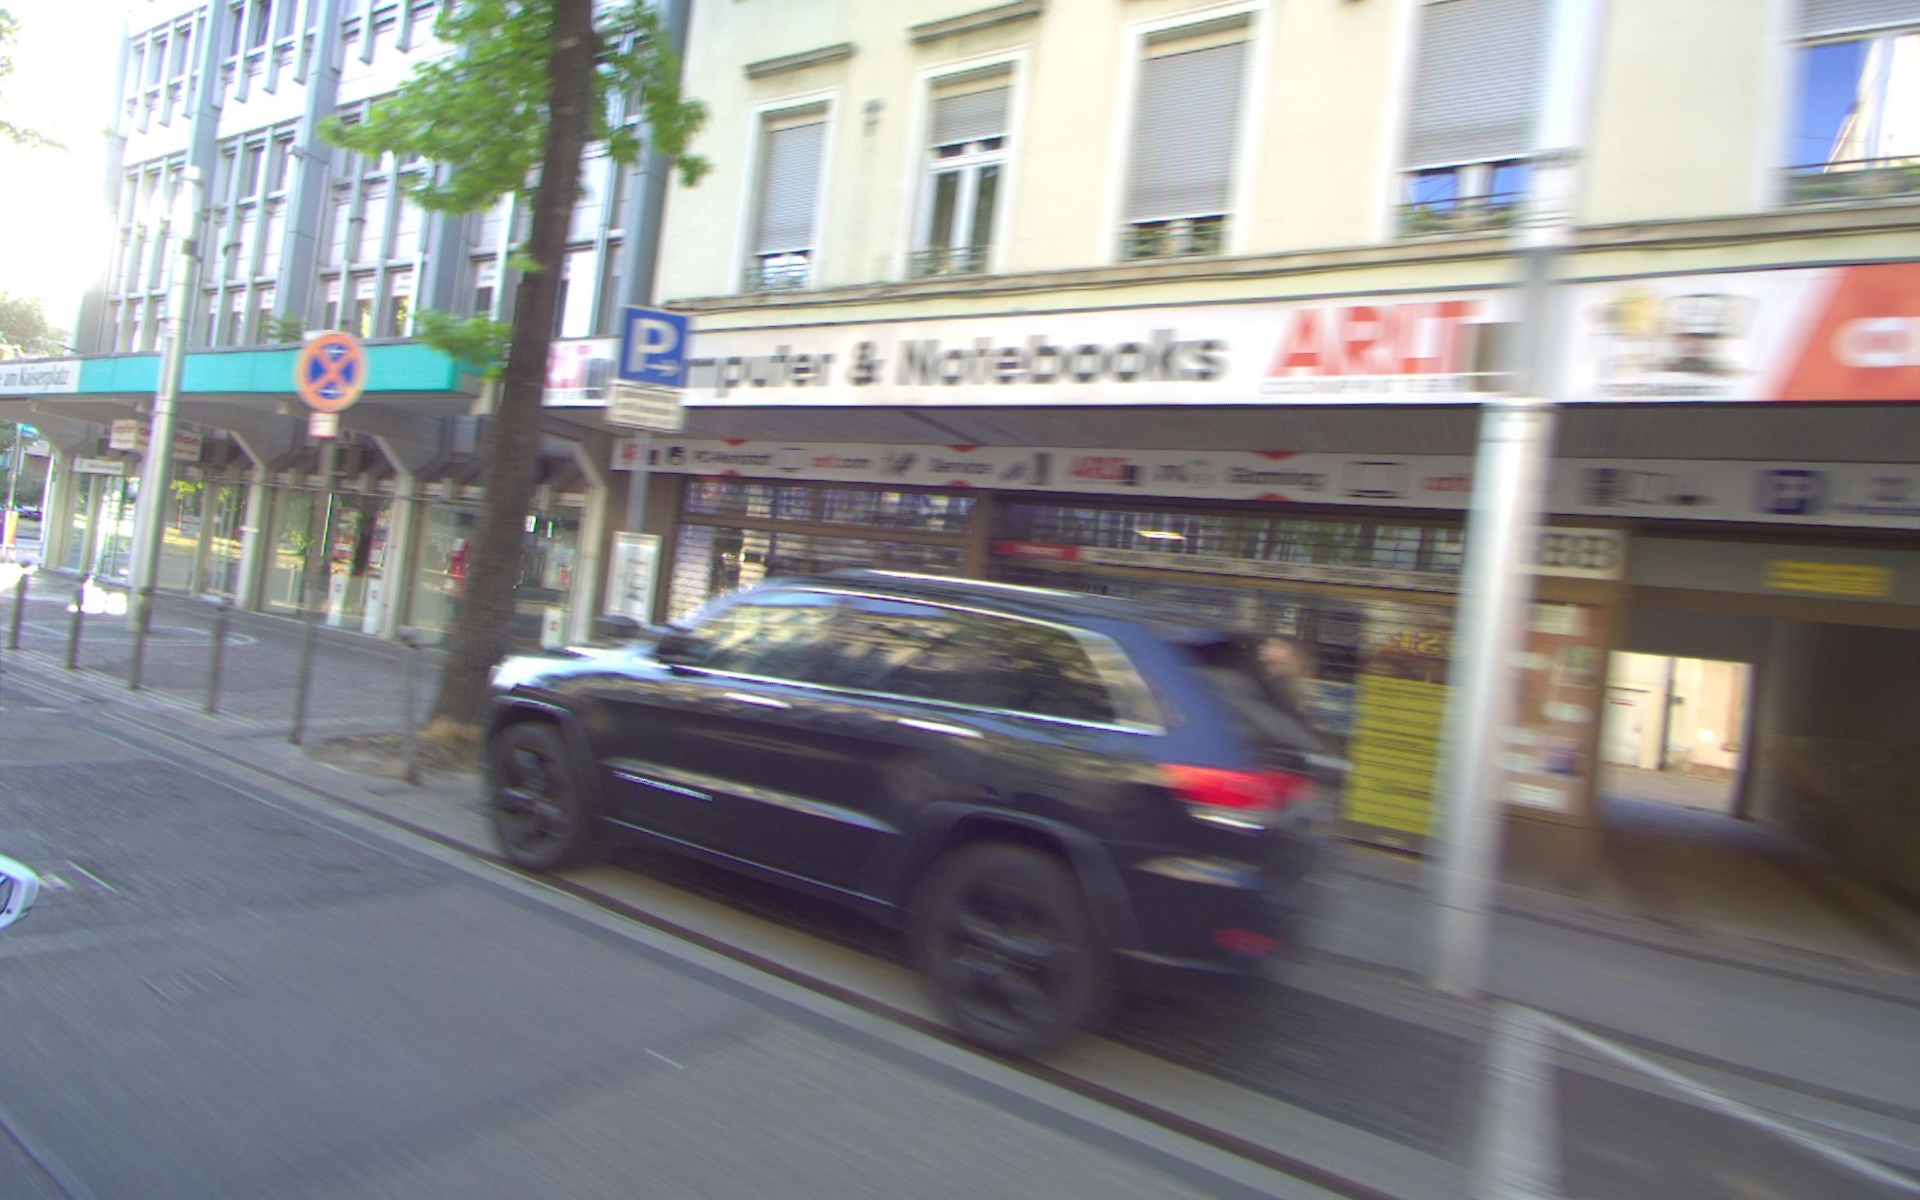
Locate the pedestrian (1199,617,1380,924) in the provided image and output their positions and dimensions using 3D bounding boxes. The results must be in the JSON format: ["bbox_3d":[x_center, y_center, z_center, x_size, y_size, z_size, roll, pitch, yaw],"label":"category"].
[{"bbox_3d":[2.048,0.996,6.235,0.773,1.692,0.643,7,3,31],"label":"pedestrian"}]

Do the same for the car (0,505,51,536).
[{"bbox_3d":[-78.752,-6.686,84.372,3.926,1.993,2.001,7,-1,21],"label":"car"}]

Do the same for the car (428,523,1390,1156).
[{"bbox_3d":[-0.452,0.724,5.255,4.601,1.783,1.939,7,2,31],"label":"car"}]
